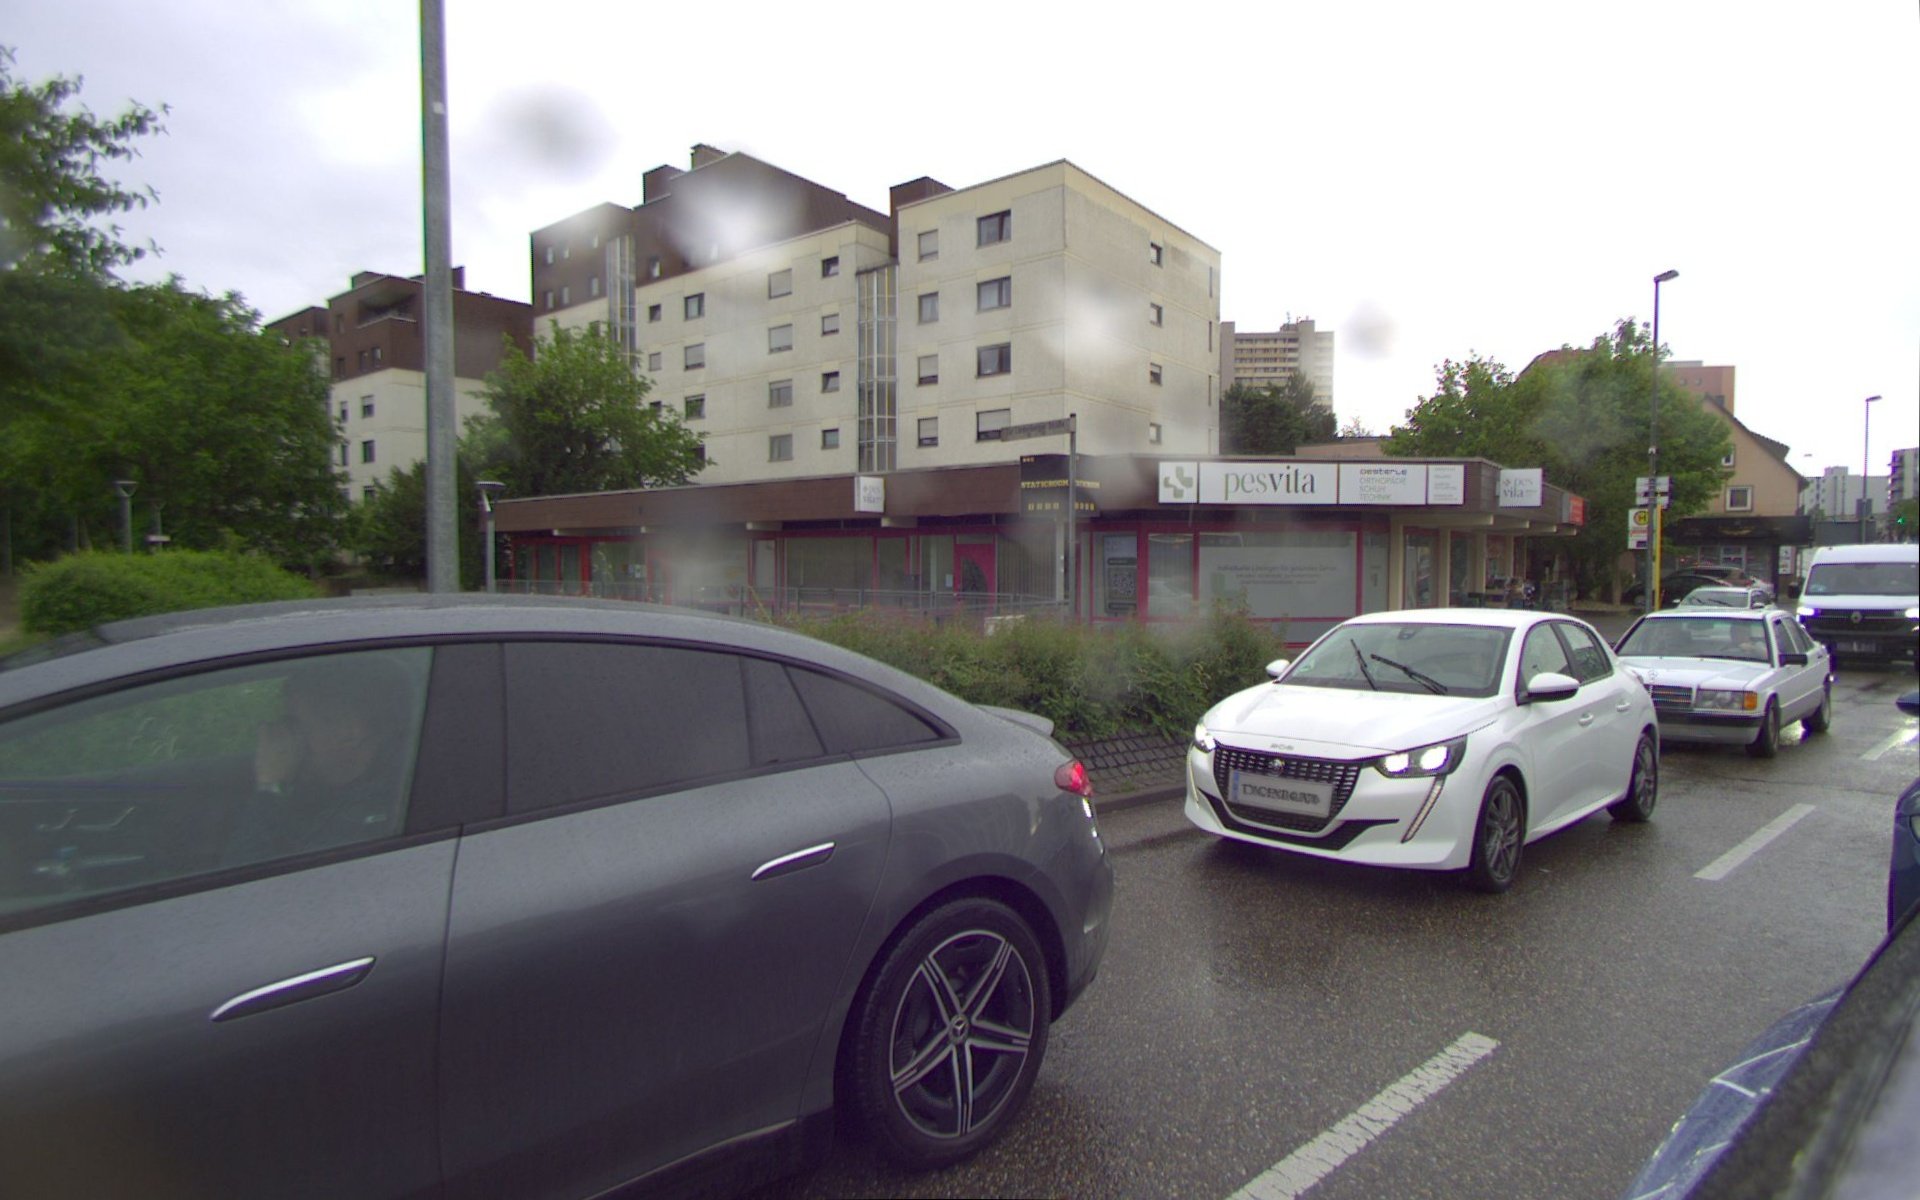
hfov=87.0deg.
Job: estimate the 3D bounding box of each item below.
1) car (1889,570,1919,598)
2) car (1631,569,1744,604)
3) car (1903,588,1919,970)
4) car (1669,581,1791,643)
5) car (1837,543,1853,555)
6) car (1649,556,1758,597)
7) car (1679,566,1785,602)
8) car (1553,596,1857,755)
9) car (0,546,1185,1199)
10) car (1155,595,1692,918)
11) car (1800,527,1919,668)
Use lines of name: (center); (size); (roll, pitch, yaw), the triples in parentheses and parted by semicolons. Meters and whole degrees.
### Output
car: (54.670, -0.941, 57.854); (3.933, 1.588, 1.996); (-2, 1, -43)
car: (32.306, -0.629, 44.980); (3.981, 1.445, 1.858); (2, 2, 39)
car: (5.507, 0.652, 4.482); (3.933, 1.406, 1.690); (-1, 1, -43)
car: (20.261, 0.264, 26.584); (3.930, 1.509, 1.787); (-1, 1, -41)
car: (139.718, -8.026, 159.835); (1.657, 1.654, 3.754); (1, 1, 37)
car: (34.169, -1.114, 46.553); (3.981, 1.801, 1.858); (2, 2, 39)
car: (36.944, -0.759, 48.483); (3.981, 1.614, 1.857); (2, 0, 39)
car: (8.187, 0.665, 10.990); (4.089, 1.362, 1.787); (-1, 1, -41)
car: (-1.642, 0.673, 2.404); (4.724, 1.485, 1.840); (0, -1, -41)
car: (3.191, 0.702, 6.572); (4.043, 1.433, 1.665); (-1, 1, -41)
car: (19.153, -0.125, 20.808); (6.021, 2.549, 2.194); (-2, 2, -43)
